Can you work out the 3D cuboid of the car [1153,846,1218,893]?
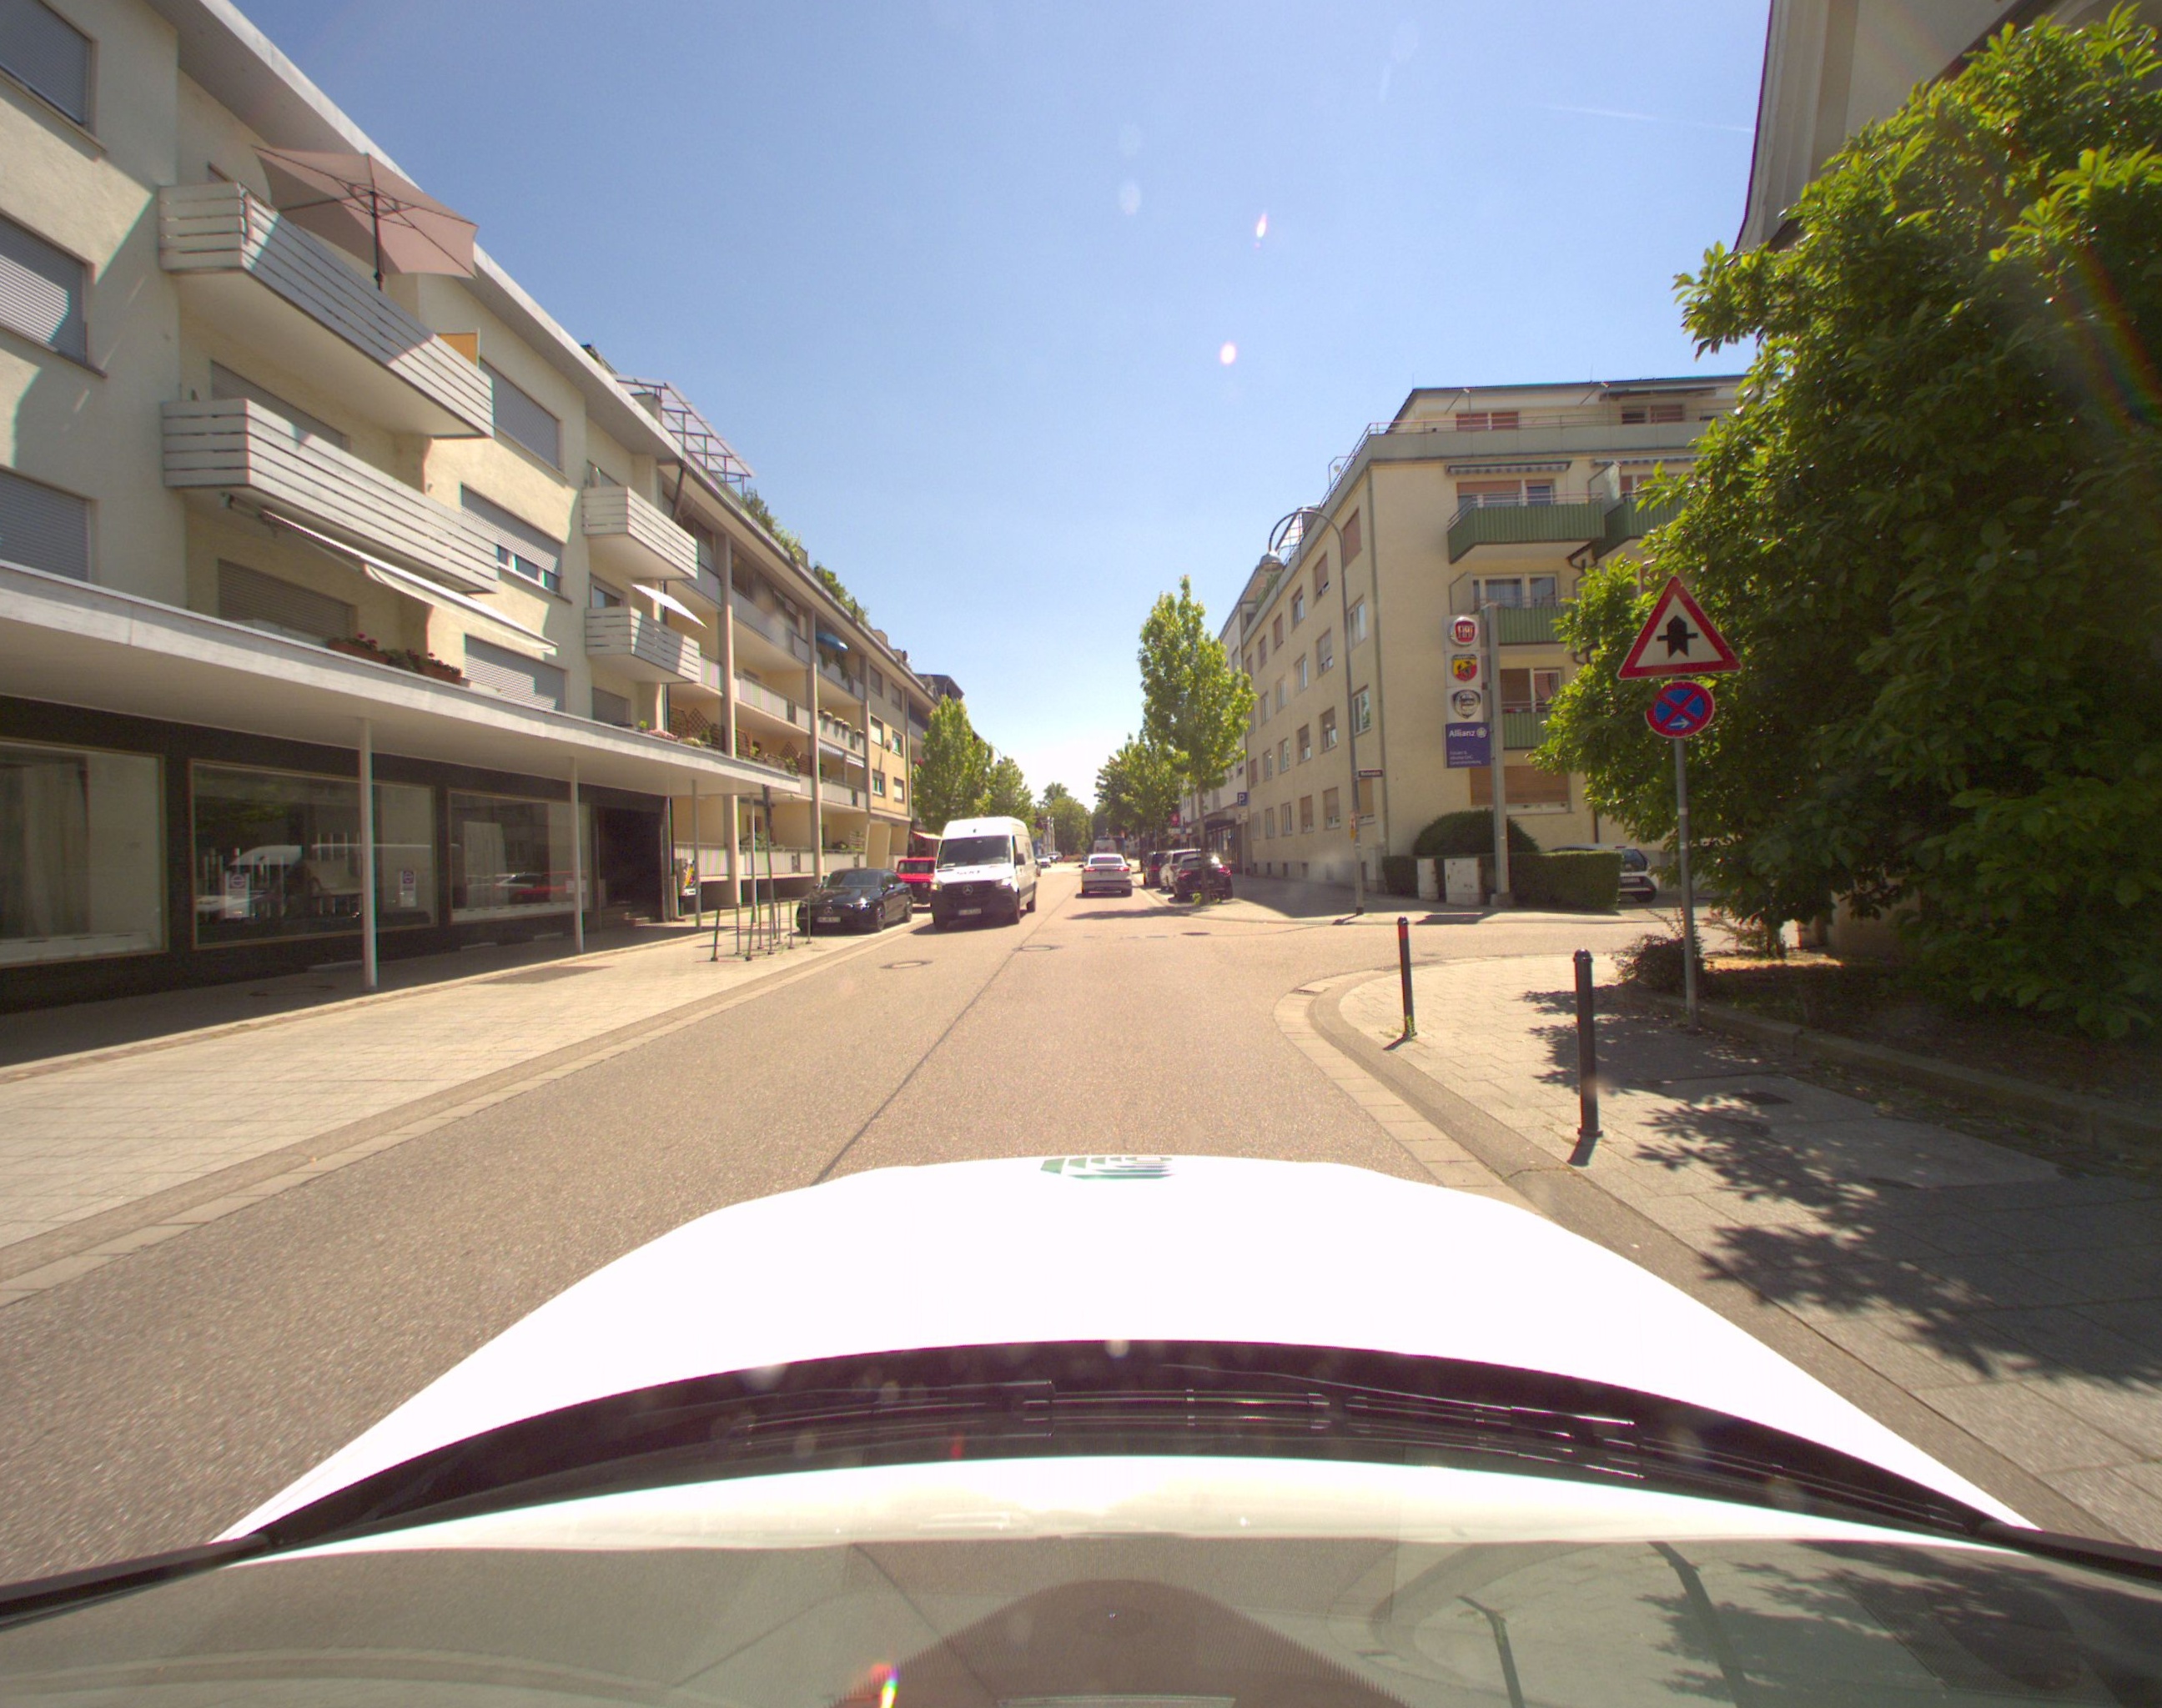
[{"bbox_3d":[4.168,0.596,33.281,1.891,1.674,4.688,-4,0,-1],"label":"car"}]

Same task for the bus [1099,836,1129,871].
[{"bbox_3d":[3.258,-0.020,79.470,2.649,3.221,7.309,0,-1,4],"label":"bus"}]

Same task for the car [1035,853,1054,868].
[{"bbox_3d":[-4.398,0.808,98.674,1.850,1.692,4.151,-3,0,1],"label":"car"}]

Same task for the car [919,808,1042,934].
[{"bbox_3d":[-2.375,0.380,21.358,2.029,2.630,7.109,-4,0,1],"label":"car"}]

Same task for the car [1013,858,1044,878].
[{"bbox_3d":[-3.901,1.019,60.746,1.745,1.453,4.404,0,0,3],"label":"car"}]

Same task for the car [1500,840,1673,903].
[{"bbox_3d":[12.766,0.415,20.879,1.833,1.417,3.850,-2,0,-4],"label":"car"}]

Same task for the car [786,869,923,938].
[{"bbox_3d":[-5.372,1.110,20.099,1.889,1.417,5.048,0,0,1],"label":"car"}]

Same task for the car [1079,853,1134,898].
[{"bbox_3d":[0.957,0.798,31.909,1.987,1.633,4.000,-1,0,0],"label":"car"}]

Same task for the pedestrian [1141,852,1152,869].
[{"bbox_3d":[6.089,0.581,75.603,0.710,1.502,0.586,-3,0,26],"label":"pedestrian"}]

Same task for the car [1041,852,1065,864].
[{"bbox_3d":[-4.087,0.568,120.334,1.848,1.757,4.023,-1,-1,25],"label":"car"}]

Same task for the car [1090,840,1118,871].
[{"bbox_3d":[1.882,0.137,65.174,2.148,2.442,5.285,0,-1,2],"label":"car"}]

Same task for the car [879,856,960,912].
[{"bbox_3d":[-5.158,0.910,26.574,1.746,1.702,4.102,0,0,1],"label":"car"}]

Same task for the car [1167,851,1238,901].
[{"bbox_3d":[3.956,0.668,27.140,1.888,1.438,4.548,-2,0,3],"label":"car"}]

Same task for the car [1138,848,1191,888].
[{"bbox_3d":[3.888,0.644,38.632,1.850,1.674,4.535,-4,0,-1],"label":"car"}]
